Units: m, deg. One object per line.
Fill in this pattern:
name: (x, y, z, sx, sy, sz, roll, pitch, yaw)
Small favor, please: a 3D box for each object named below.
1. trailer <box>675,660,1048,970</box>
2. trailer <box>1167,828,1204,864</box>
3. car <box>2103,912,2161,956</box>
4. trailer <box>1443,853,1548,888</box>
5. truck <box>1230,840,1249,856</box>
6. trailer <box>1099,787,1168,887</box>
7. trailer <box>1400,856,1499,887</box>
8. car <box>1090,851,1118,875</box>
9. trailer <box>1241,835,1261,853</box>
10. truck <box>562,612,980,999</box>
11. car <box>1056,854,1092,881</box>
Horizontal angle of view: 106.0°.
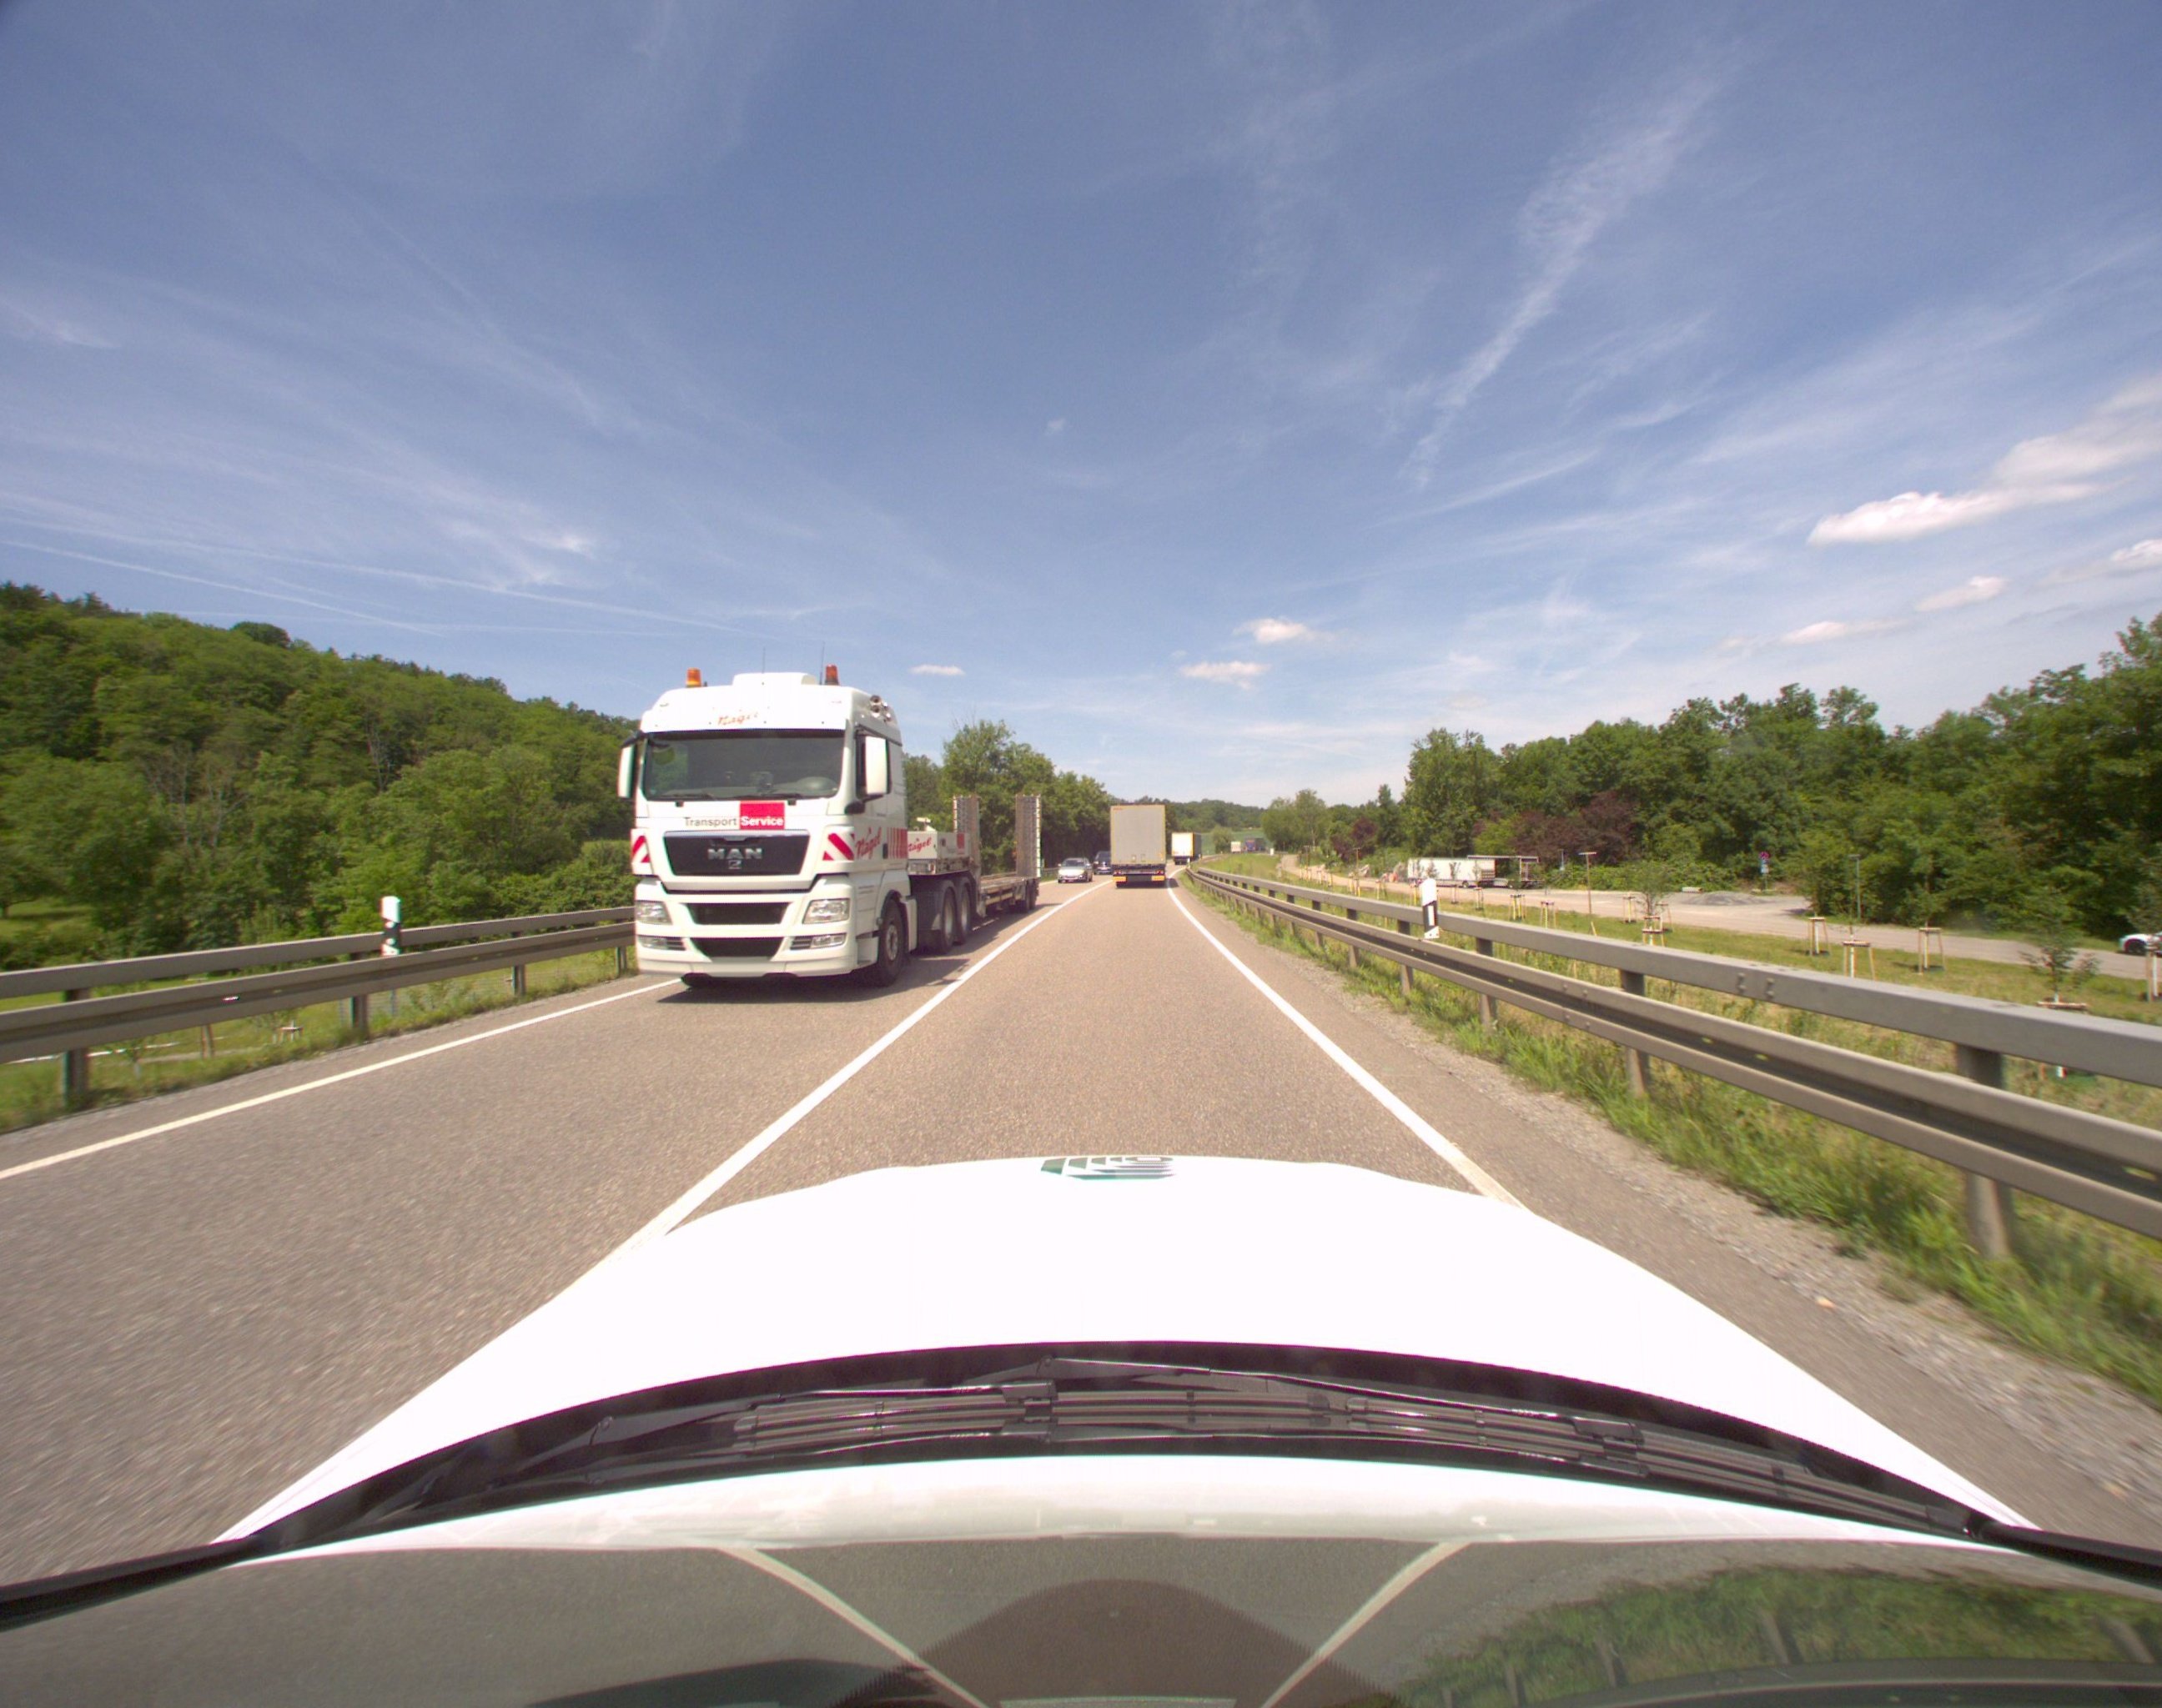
trailer: (-3.204, -0.484, 18.291, 3.104, 3.980, 15.373, -1, 0, 4)
trailer: (13.695, -0.956, 105.807, 3.342, 4.317, 13.912, -1, -1, 13)
car: (44.597, 3.309, 32.425, 1.853, 1.482, 4.604, -5, 0, -2)
trailer: (46.280, 1.755, 91.566, 2.727, 3.606, 11.816, 0, 0, -20)
truck: (36.282, -1.325, 186.306, 3.199, 3.365, 11.923, -1, -1, 15)
trailer: (2.977, -0.820, 44.062, 3.104, 4.499, 13.904, -1, 0, 5)
trailer: (42.149, 1.882, 93.879, 2.729, 3.327, 11.808, -1, 0, -22)
car: (1.914, 0.710, 66.259, 1.912, 1.860, 5.183, -1, 0, 6)
trailer: (43.374, -2.383, 207.815, 3.619, 4.263, 12.250, -1, -1, 18)
truck: (-3.663, -0.489, 11.784, 3.105, 3.957, 6.628, -1, 0, 3)
car: (-0.366, 0.792, 48.560, 1.759, 1.494, 4.176, -1, 0, 5)
